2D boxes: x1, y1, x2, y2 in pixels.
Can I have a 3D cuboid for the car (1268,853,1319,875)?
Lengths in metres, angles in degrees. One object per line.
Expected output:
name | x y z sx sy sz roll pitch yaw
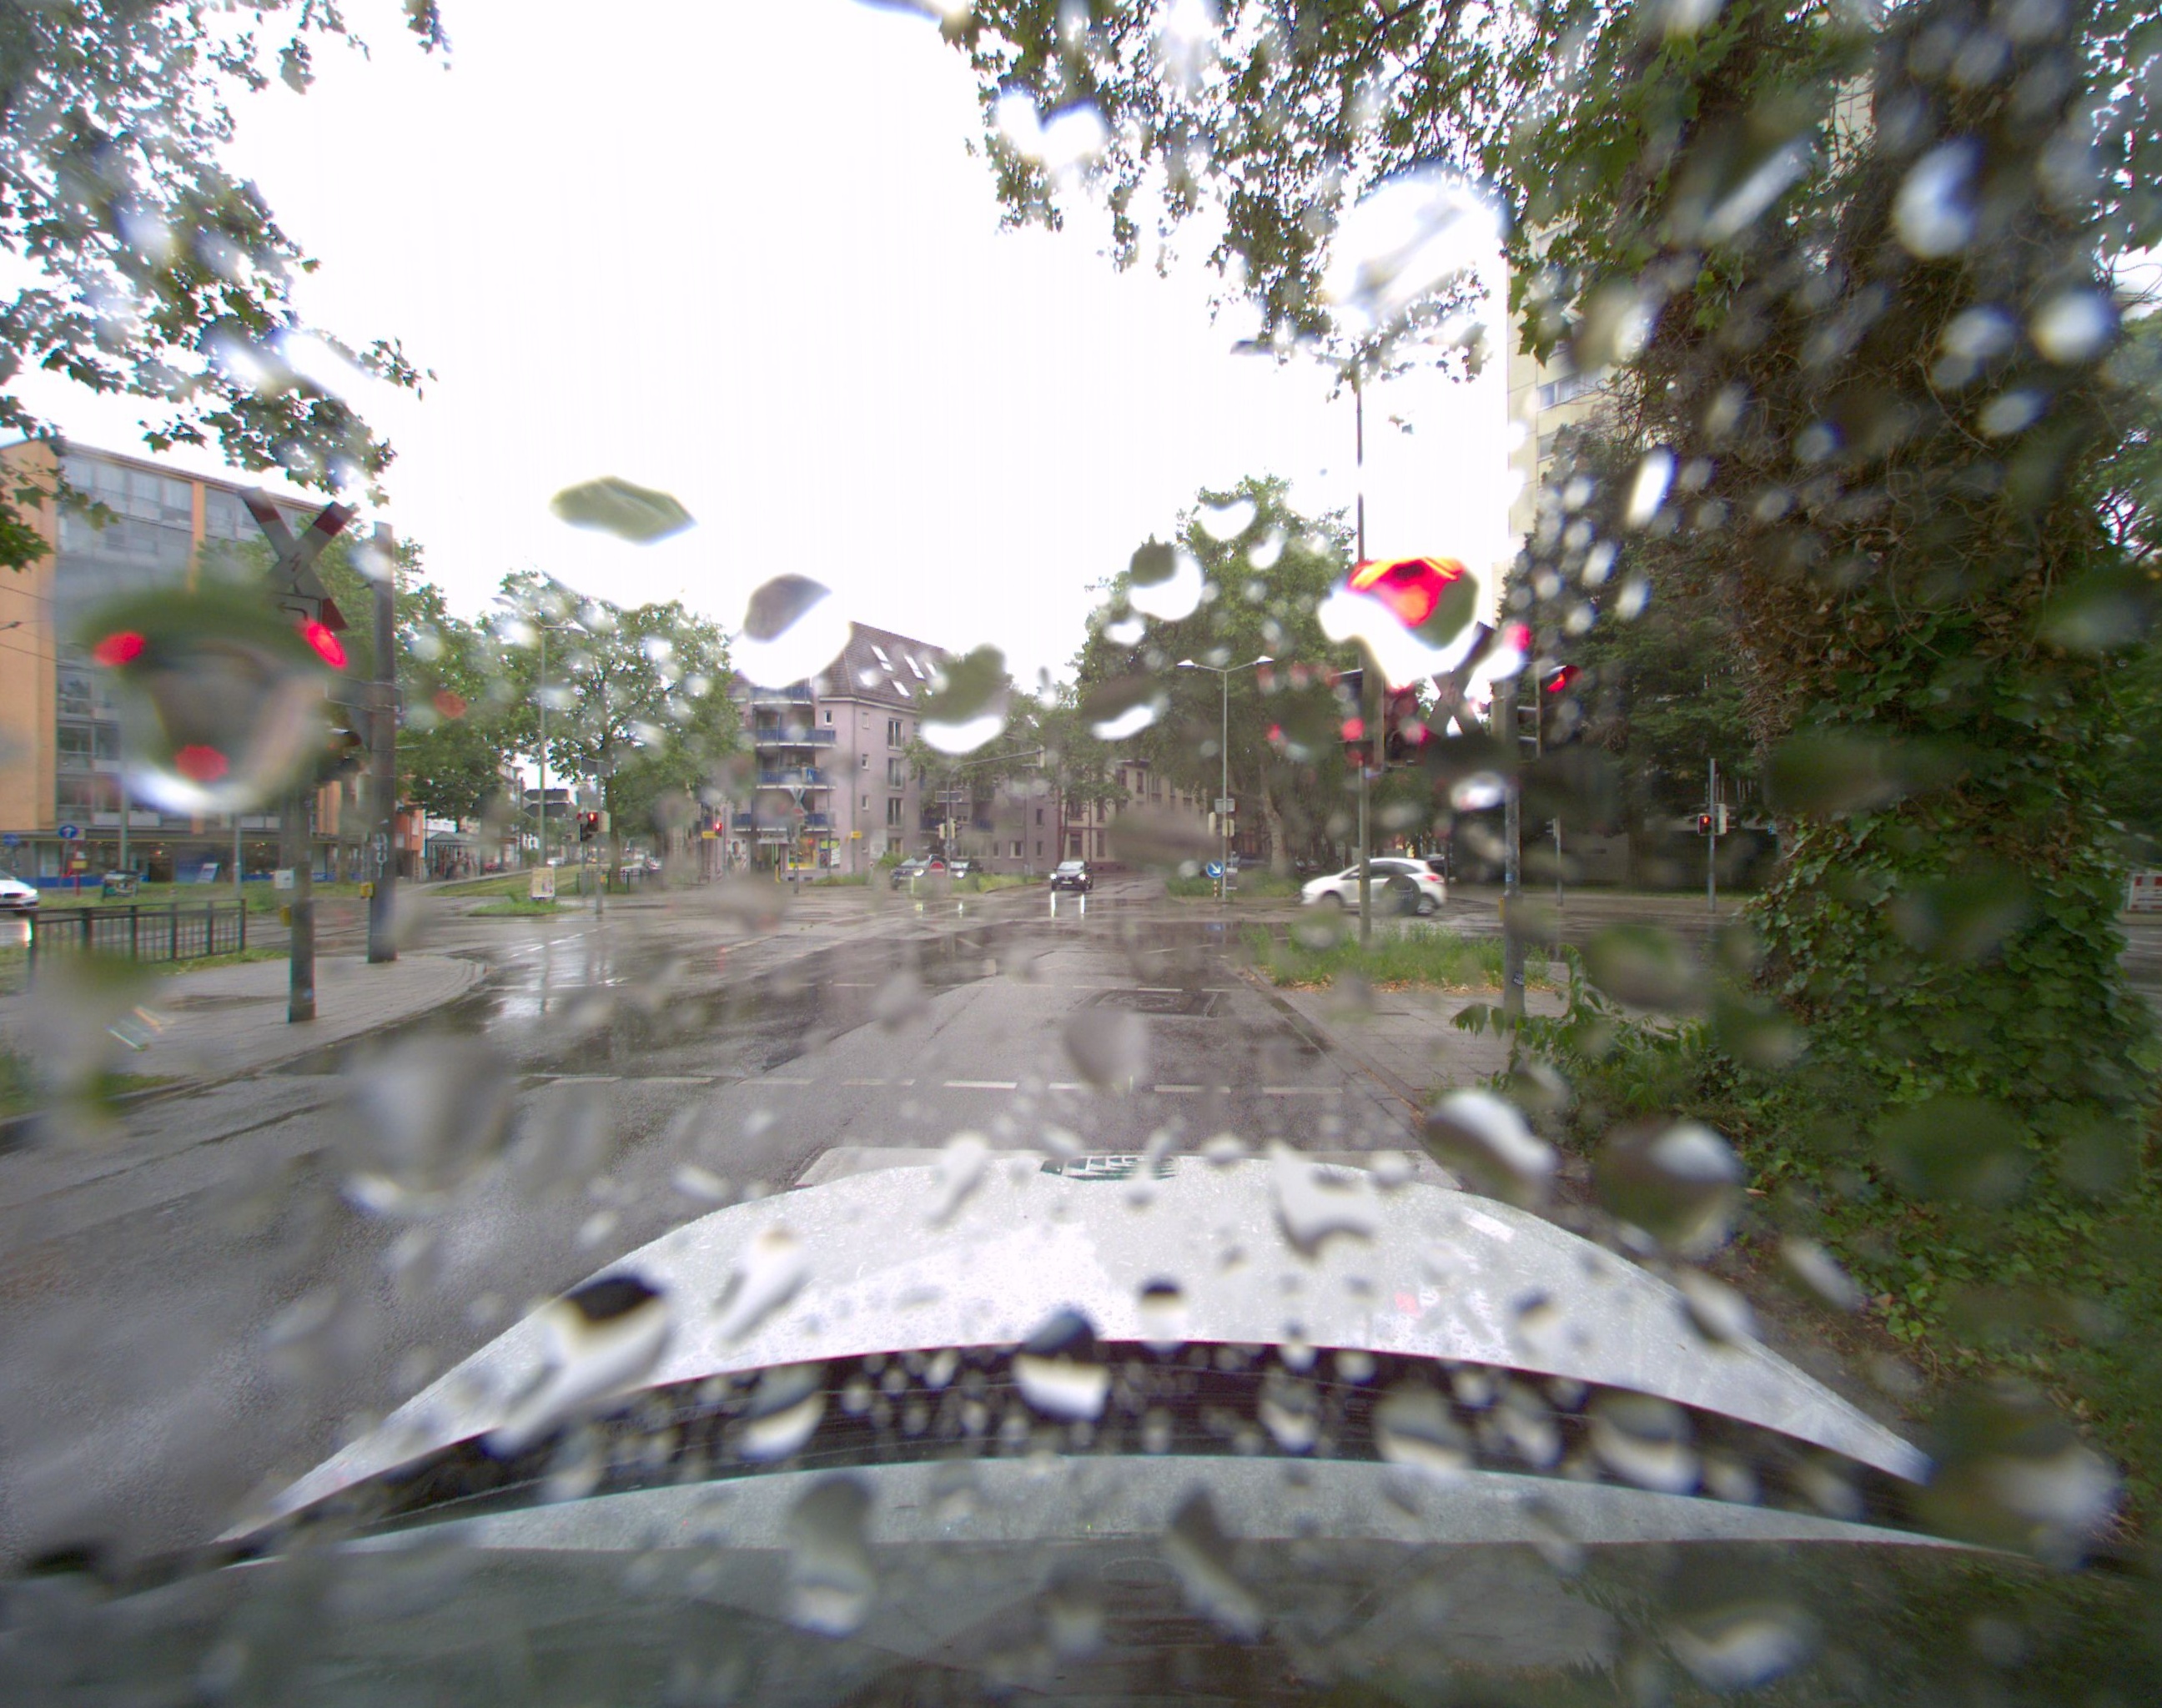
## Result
car | 17.000 0.791 65.031 3.571 1.618 1.692 -2 0 30

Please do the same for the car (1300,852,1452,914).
car | 7.753 0.749 21.645 3.613 1.486 1.732 -2 0 17

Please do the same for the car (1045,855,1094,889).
car | -0.510 0.879 40.690 1.591 1.552 3.572 -2 0 13

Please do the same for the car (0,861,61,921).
car | -32.161 1.100 23.415 3.978 1.651 1.980 -2 0 13

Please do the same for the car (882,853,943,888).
car | -8.041 0.742 39.125 1.715 1.552 3.567 -2 0 8

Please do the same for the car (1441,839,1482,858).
car | 42.544 -0.611 91.120 3.953 2.013 1.716 -2 0 21

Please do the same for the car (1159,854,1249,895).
car | 4.990 0.810 32.961 3.457 1.523 1.524 -2 0 10

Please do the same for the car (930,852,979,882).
car | -6.989 0.702 45.254 1.715 1.552 3.567 -2 0 8
